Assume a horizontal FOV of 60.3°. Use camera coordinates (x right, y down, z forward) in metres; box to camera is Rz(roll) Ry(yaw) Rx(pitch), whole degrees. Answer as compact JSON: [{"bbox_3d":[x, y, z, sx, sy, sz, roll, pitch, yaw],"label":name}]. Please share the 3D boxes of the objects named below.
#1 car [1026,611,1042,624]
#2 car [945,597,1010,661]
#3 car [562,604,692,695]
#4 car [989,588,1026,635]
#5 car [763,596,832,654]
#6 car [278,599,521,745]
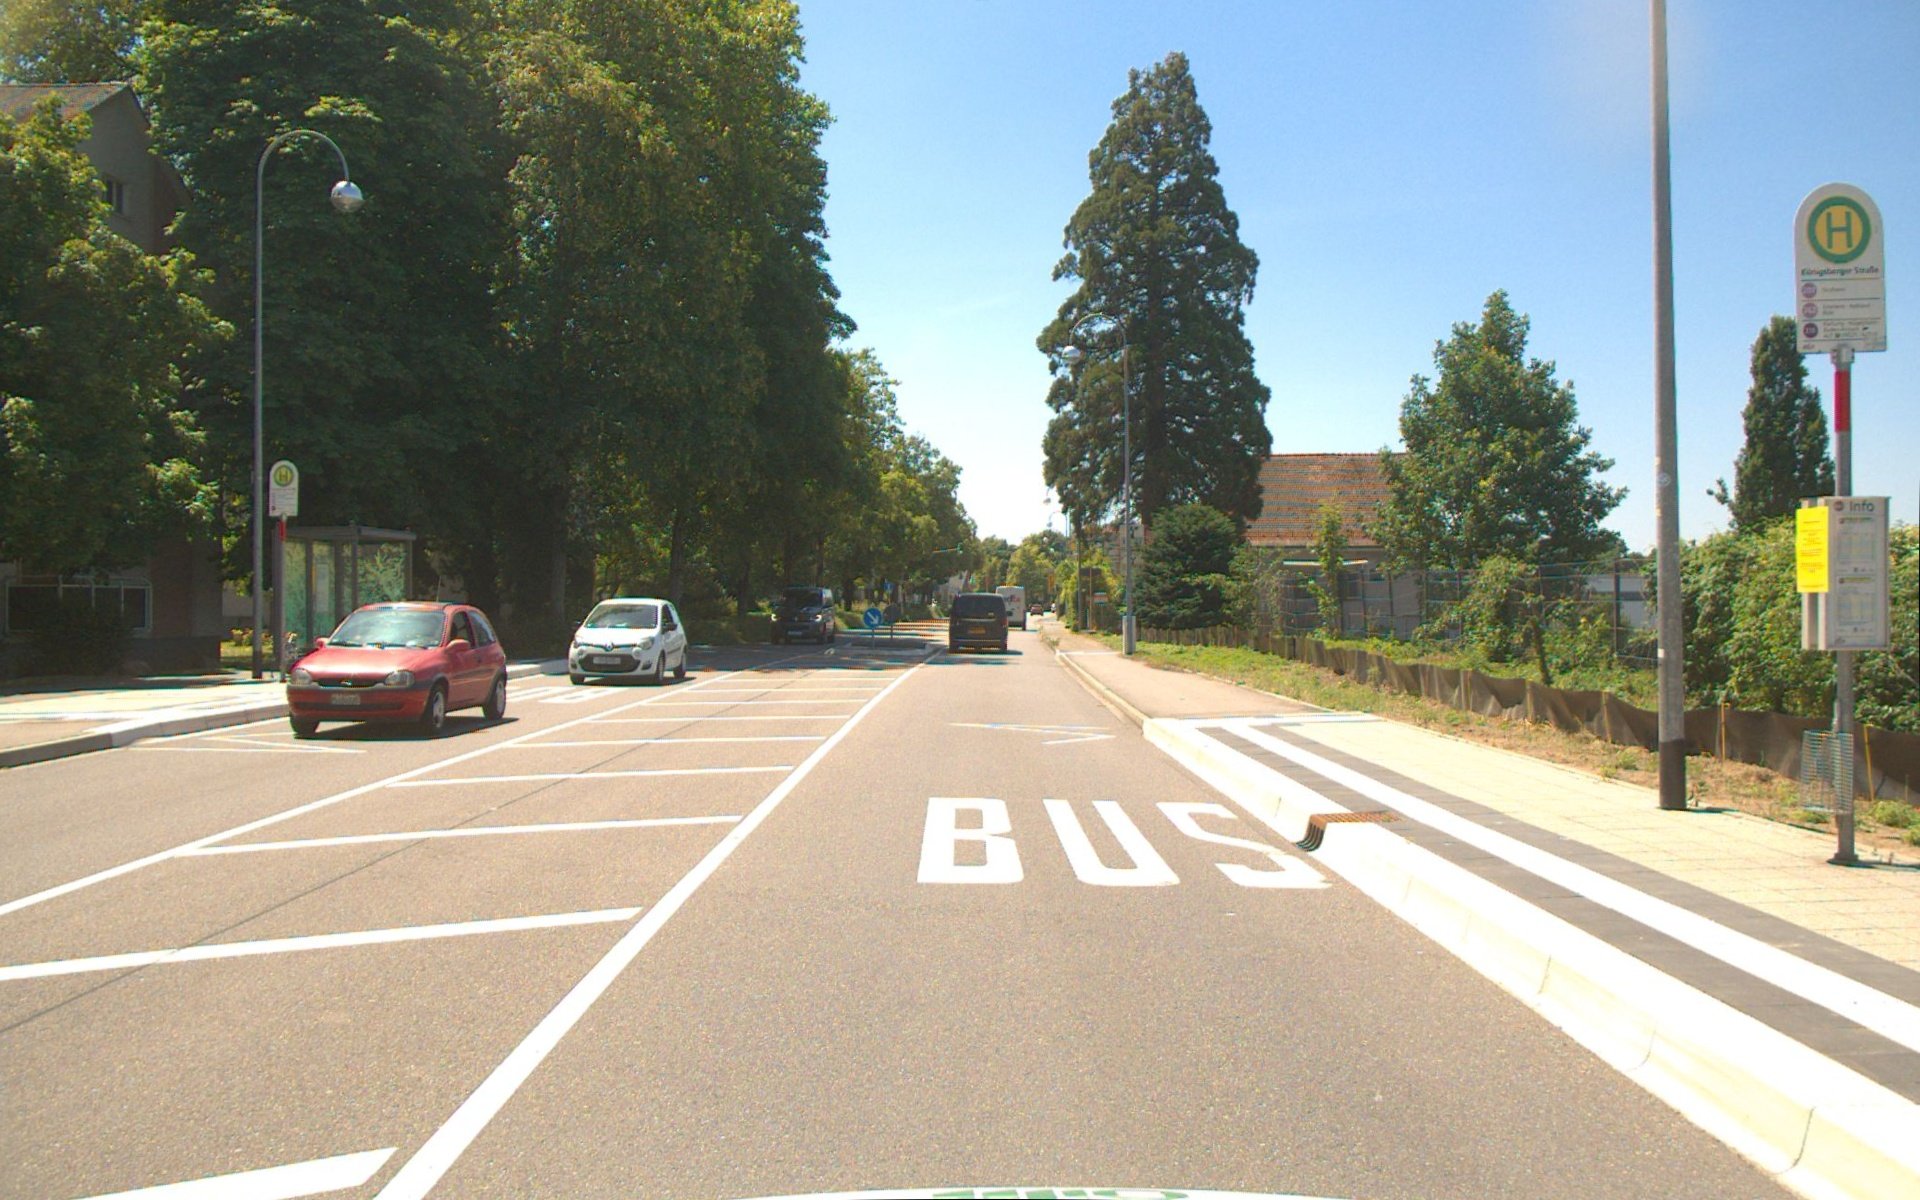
[{"bbox_3d":[10.094,2.433,225.732,1.820,1.671,3.999,1,0,-2],"label":"car"},{"bbox_3d":[0.531,0.885,52.893,1.953,1.926,4.000,1,0,0],"label":"car"},{"bbox_3d":[-6.028,0.858,30.274,1.656,1.485,3.639,1,0,-1],"label":"car"},{"bbox_3d":[2.904,0.667,100.301,2.076,2.724,5.663,1,0,2],"label":"car"},{"bbox_3d":[-5.712,0.842,58.732,1.953,1.943,4.990,1,0,0],"label":"car"},{"bbox_3d":[-6.303,0.765,18.996,1.519,1.476,3.690,1,-1,0],"label":"car"}]
